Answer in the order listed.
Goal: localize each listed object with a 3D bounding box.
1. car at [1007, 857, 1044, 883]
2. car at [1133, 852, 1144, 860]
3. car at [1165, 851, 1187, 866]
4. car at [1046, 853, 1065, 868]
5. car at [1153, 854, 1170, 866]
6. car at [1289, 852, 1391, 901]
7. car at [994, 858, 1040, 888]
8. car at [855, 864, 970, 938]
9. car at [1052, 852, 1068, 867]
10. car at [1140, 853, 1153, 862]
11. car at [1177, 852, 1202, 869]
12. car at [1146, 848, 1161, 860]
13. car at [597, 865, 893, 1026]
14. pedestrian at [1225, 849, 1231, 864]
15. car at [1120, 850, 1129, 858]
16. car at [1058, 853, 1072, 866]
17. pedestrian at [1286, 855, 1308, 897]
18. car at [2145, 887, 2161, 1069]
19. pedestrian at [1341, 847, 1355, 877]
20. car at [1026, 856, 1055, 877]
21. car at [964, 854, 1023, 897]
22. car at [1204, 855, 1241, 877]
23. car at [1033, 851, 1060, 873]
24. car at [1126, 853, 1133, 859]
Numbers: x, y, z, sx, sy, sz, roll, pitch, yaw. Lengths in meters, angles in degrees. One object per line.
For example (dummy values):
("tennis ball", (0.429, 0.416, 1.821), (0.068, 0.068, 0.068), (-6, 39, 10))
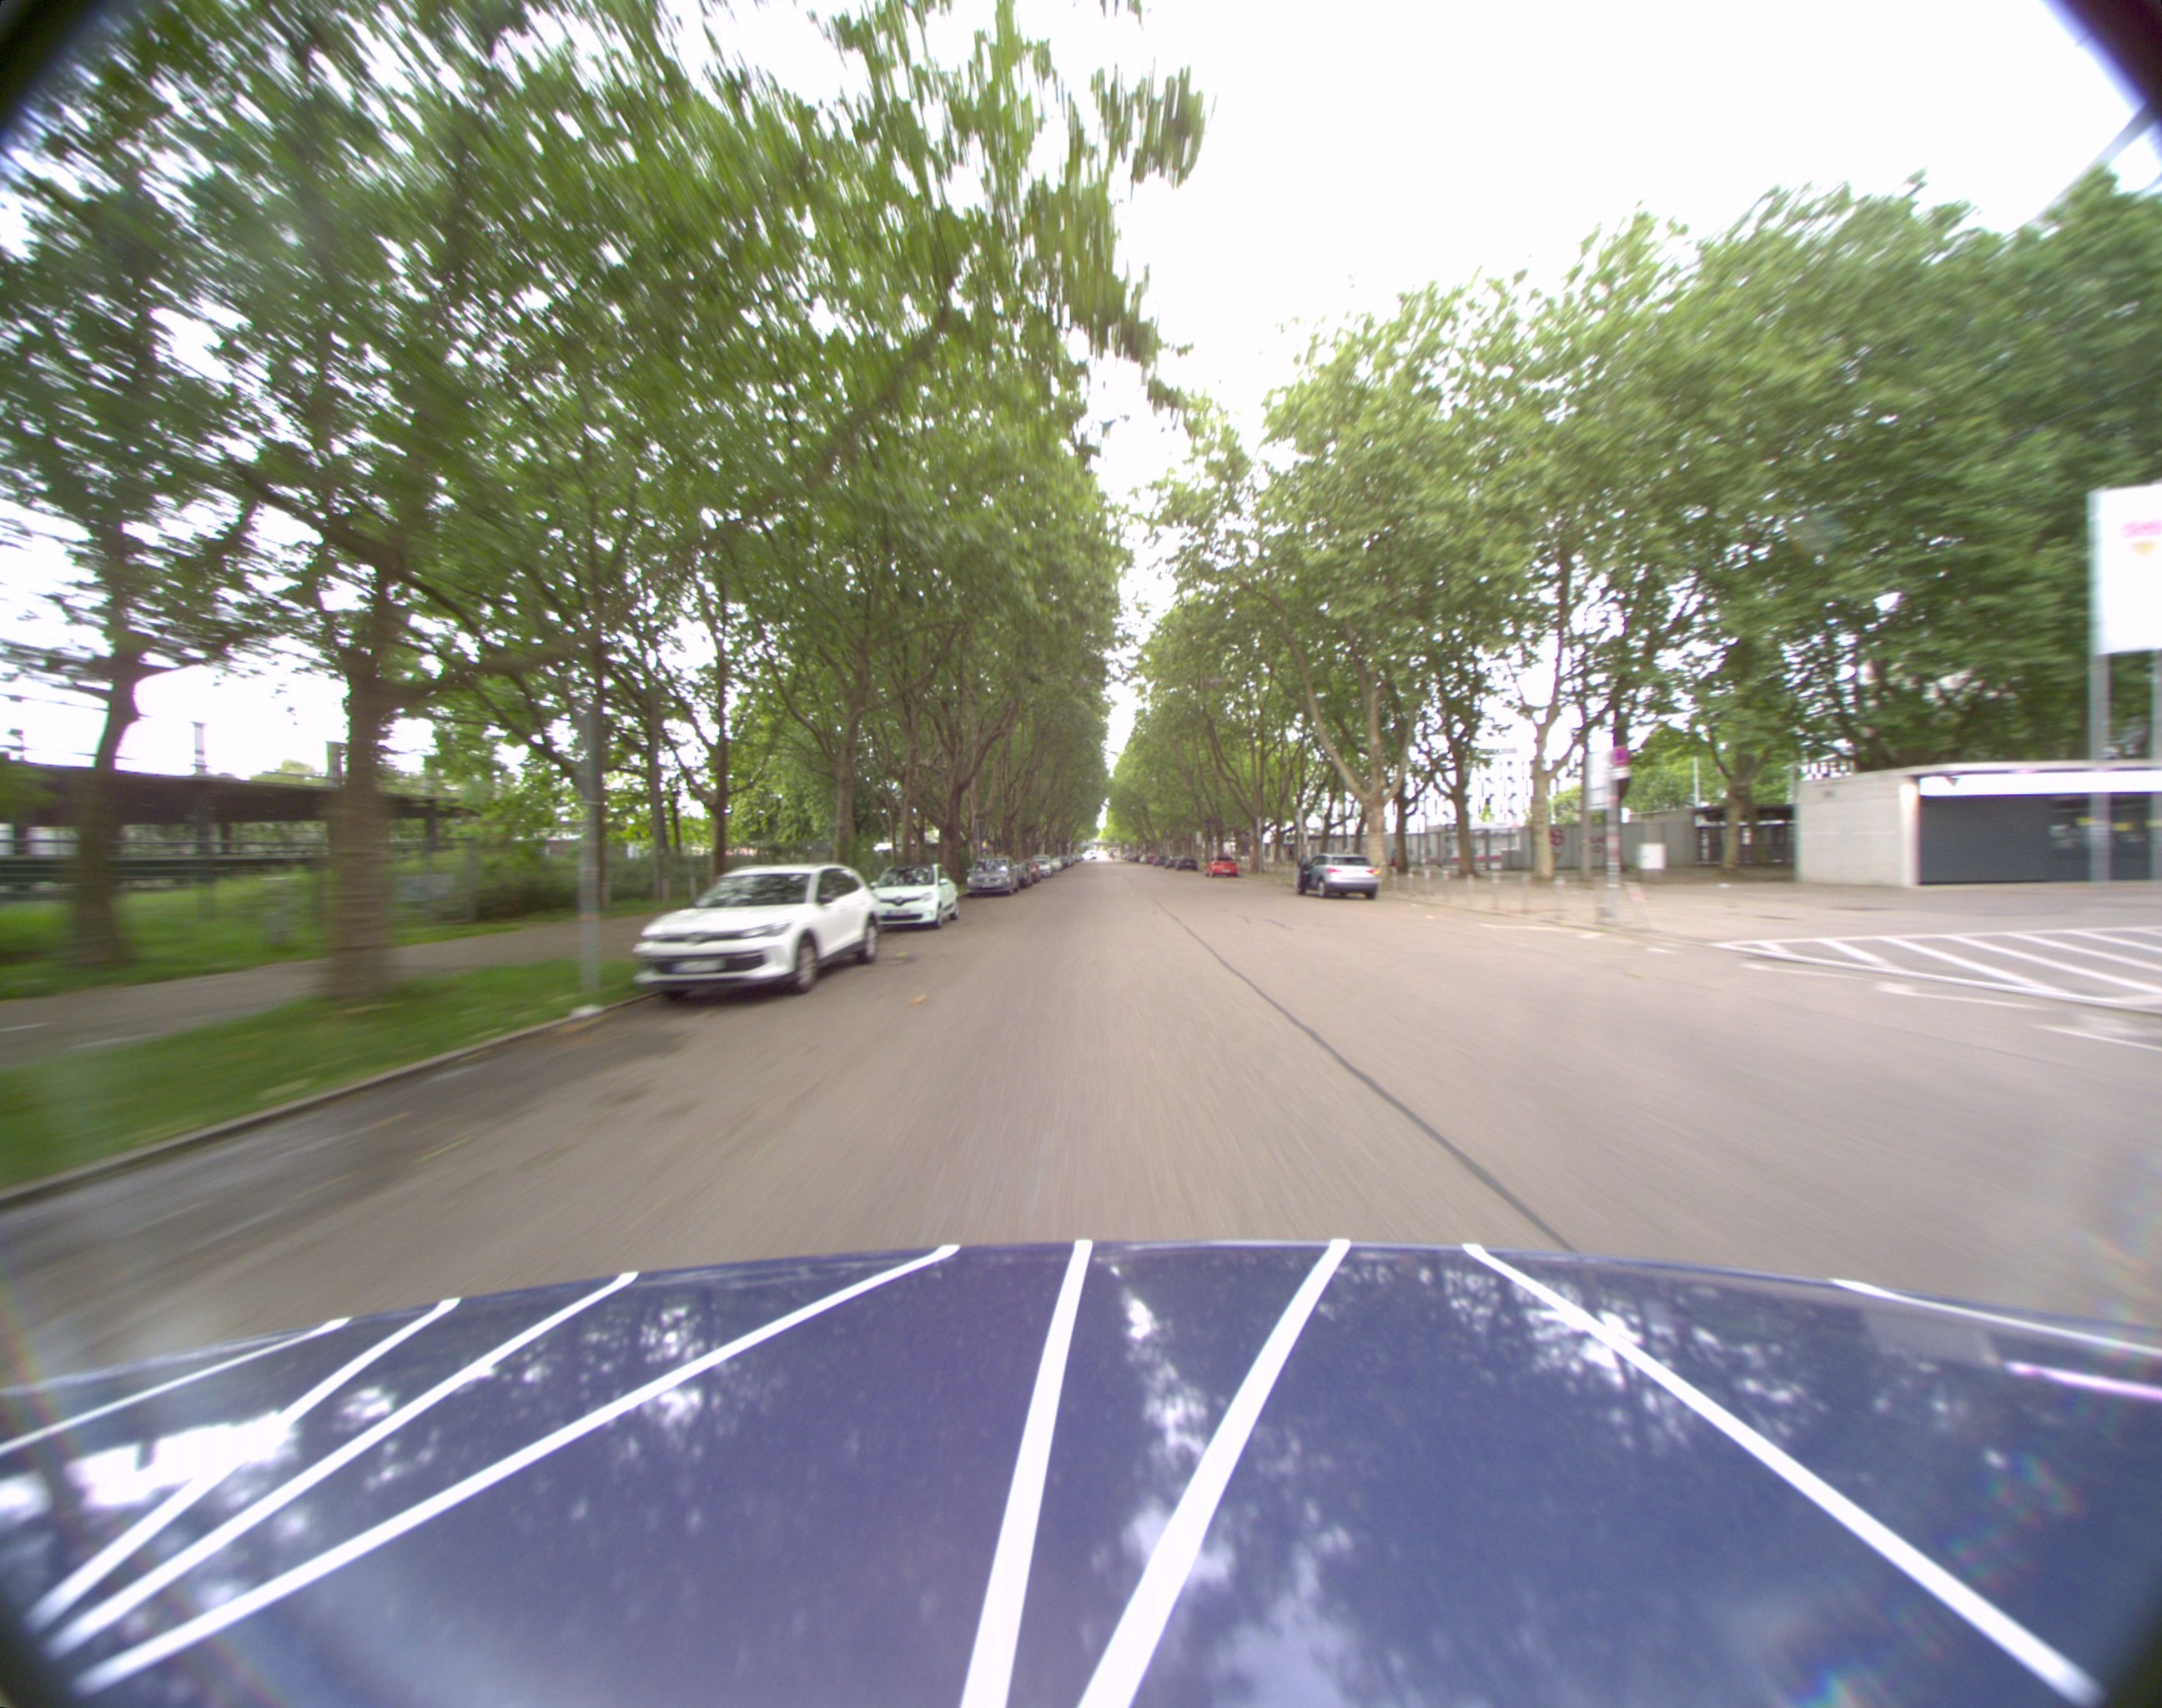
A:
("car", (-3.405, 0.939, 47.143), (1.861, 1.473, 4.177), (-2, 0, 1))
("car", (11.218, 0.461, 148.110), (1.837, 1.486, 4.443), (2, 0, 2))
("car", (10.060, 0.427, 80.577), (1.882, 1.518, 4.151), (0, 0, 1))
("car", (-2.567, 0.671, 77.650), (1.711, 1.419, 3.889), (-3, 0, 1))
("car", (10.371, 0.756, 98.293), (1.729, 1.477, 4.575), (-1, 0, 1))
("car", (9.085, 0.727, 27.109), (2.078, 1.554, 4.756), (-1, 0, 2))
("car", (-3.354, 0.991, 40.561), (1.881, 1.419, 4.480), (-1, 0, 2))
("car", (-4.067, 1.070, 19.002), (1.812, 1.517, 4.095), (-1, 1, 2))
("car", (-2.451, 0.628, 90.366), (1.712, 1.688, 4.630), (-3, 0, 0))
("car", (11.203, 0.605, 130.317), (1.908, 1.394, 4.751), (2, 0, 1))
("car", (9.821, 0.556, 69.154), (1.831, 1.457, 4.628), (0, 0, 3))
("car", (11.066, -0.024, 116.305), (1.954, 1.740, 4.638), (0, 0, 1))
("car", (-4.273, 1.043, 10.722), (1.919, 1.608, 4.749), (-1, 1, 2))
("pedestrian", (16.874, 0.278, 87.080), (0.575, 1.732, 0.768), (-1, 1, 16))
("car", (10.535, 0.053, 183.327), (1.900, 1.785, 4.612), (2, 0, 1))
("car", (-2.183, 0.669, 103.371), (1.782, 1.663, 4.637), (-1, 0, 0))
("pedestrian", (7.696, 0.791, 27.079), (0.585, 1.458, 0.567), (-2, 1, 5))
("car", (9.215, 0.986, 3.811), (1.709, 1.411, 4.325), (1, 0, 2))
("pedestrian", (14.687, 0.449, 41.766), (0.593, 1.611, 0.792), (-1, 1, 10))
("car", (-3.056, 0.914, 58.028), (1.882, 1.419, 4.586), (-1, 0, 0))
("car", (-3.740, 0.862, 33.348), (1.986, 1.670, 4.731), (-1, 1, 0))
("car", (9.461, 0.765, 50.958), (1.812, 1.346, 4.000), (-1, 0, 2))
("car", (-2.901, 0.650, 64.791), (1.907, 1.728, 4.506), (-2, 0, 1))
("car", (12.680, 0.517, 198.232), (1.822, 1.584, 4.345), (2, 0, 3))
